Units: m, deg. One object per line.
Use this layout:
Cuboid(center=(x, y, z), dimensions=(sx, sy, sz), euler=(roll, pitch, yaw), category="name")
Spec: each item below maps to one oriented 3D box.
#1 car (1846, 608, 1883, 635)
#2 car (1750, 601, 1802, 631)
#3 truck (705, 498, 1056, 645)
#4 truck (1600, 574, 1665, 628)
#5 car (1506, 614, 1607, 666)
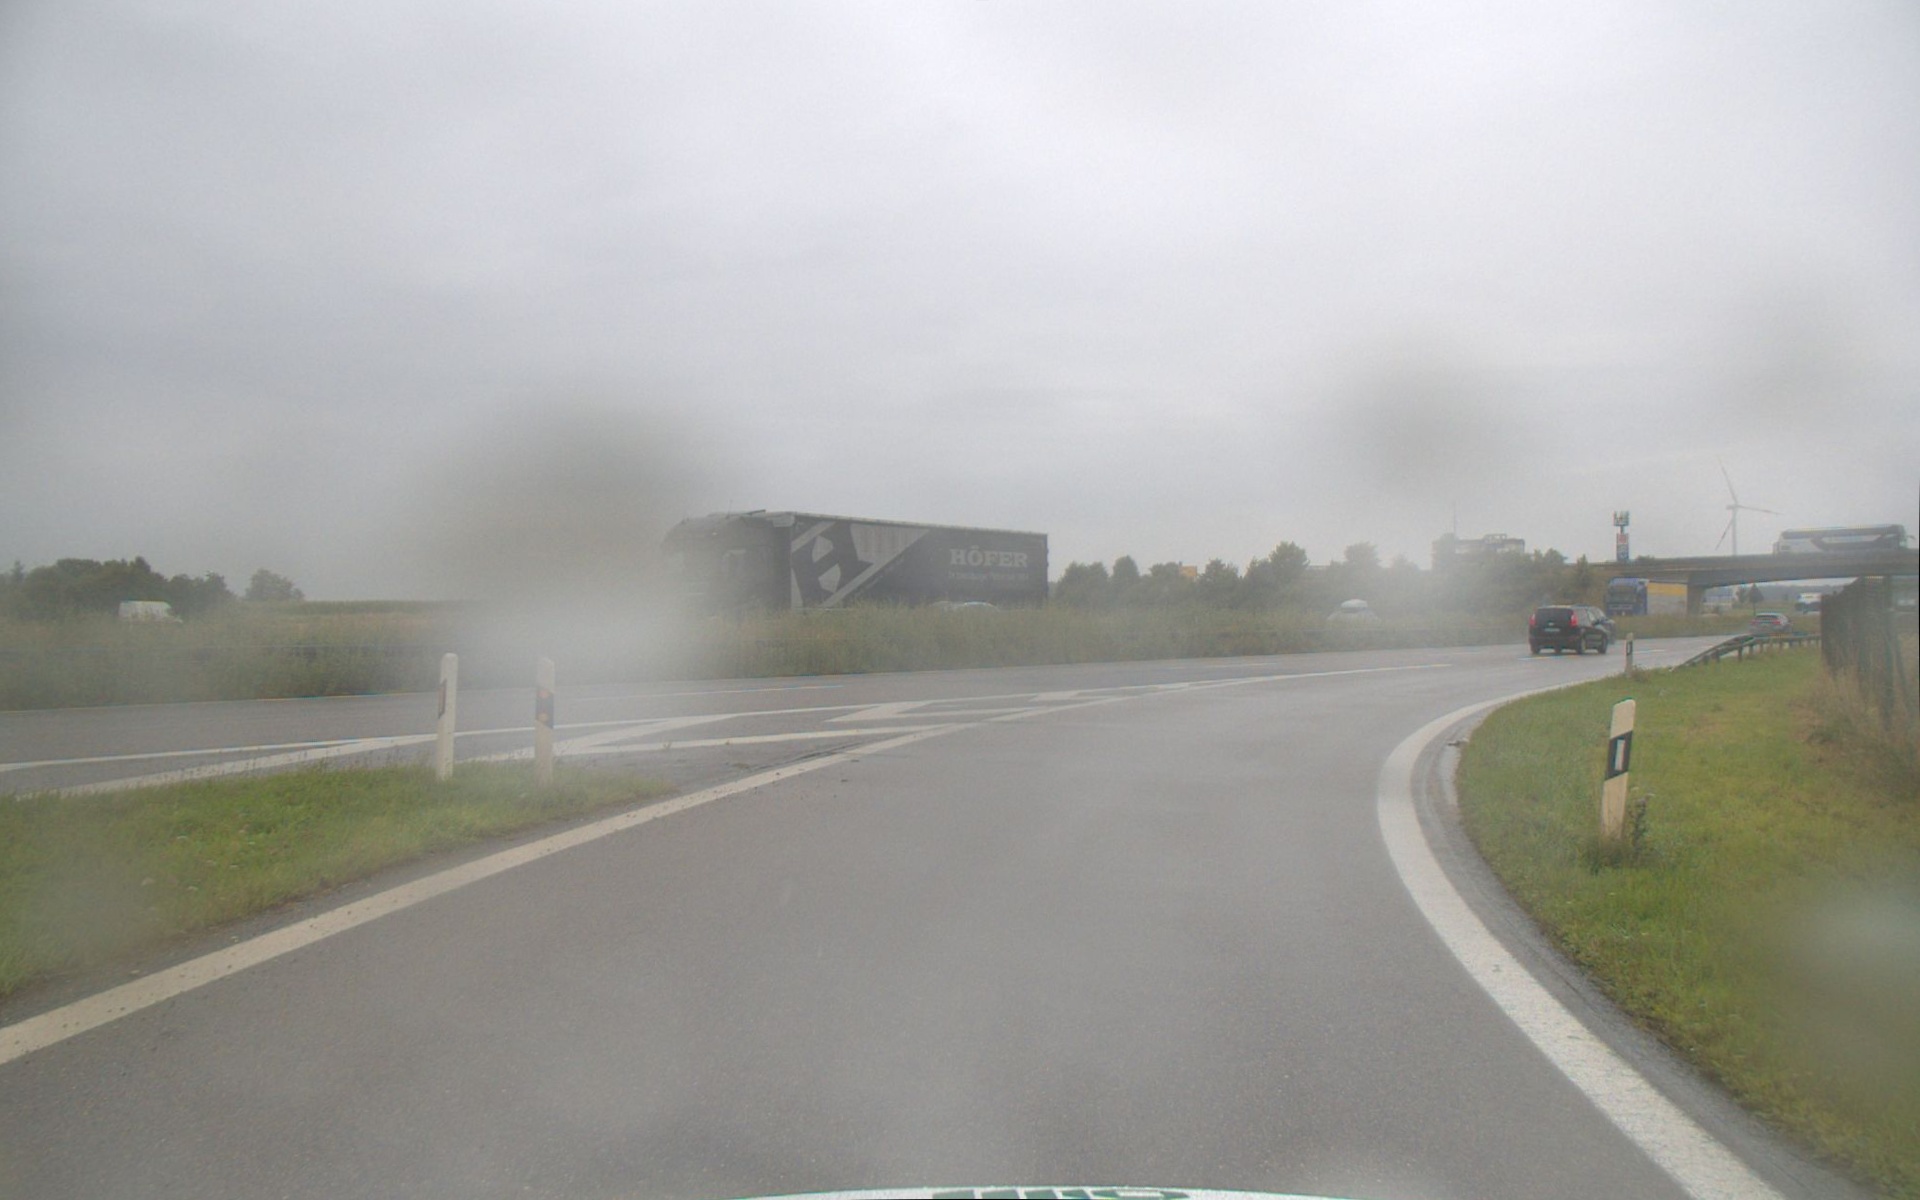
Cuboid(center=(67.463, 1.593, 123.331), dimensions=(1.960, 1.727, 3.986), euler=(-3, 0, 35), category="car")
Cuboid(center=(45.956, 0.917, 93.100), dimensions=(2.018, 1.665, 4.333), euler=(0, -1, 35), category="car")
Cuboid(center=(-1.995, -0.790, 51.970), dimensions=(3.141, 4.035, 13.762), euler=(2, 1, 35), category="truck")
Cuboid(center=(52.406, 0.096, 128.810), dimensions=(3.141, 4.035, 6.638), euler=(2, 1, 35), category="truck")
Cuboid(center=(20.395, 1.366, 56.418), dimensions=(2.109, 1.665, 4.578), euler=(1, -1, 35), category="car")
